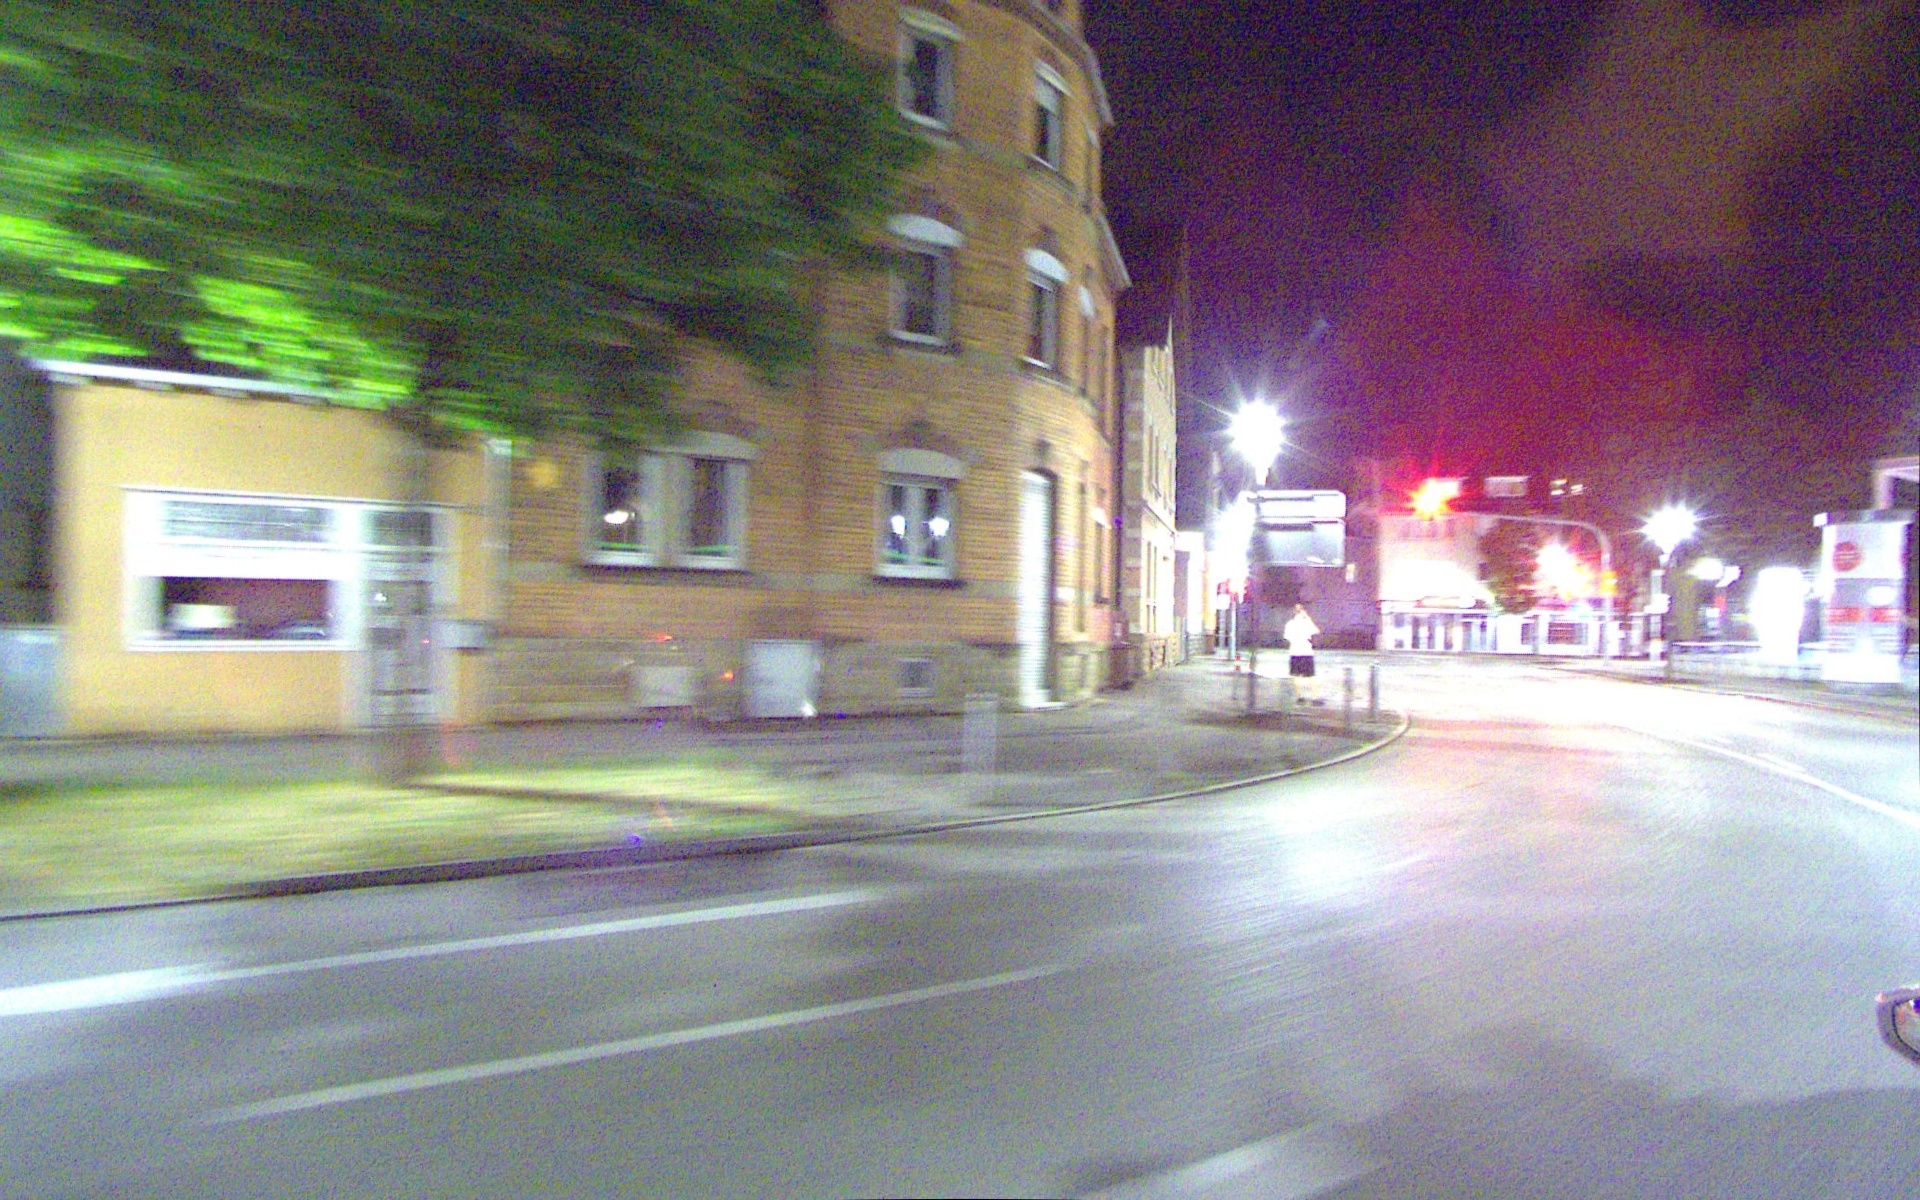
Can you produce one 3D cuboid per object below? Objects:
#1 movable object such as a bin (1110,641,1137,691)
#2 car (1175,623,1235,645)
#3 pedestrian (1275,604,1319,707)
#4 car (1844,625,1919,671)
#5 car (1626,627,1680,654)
[{"bbox_3d":[3.351,1.348,20.595,0.488,1.004,0.559,0,-1,16],"label":"movable object such as a bin"},{"bbox_3d":[18.517,2.621,76.076,1.976,1.594,4.296,2,-4,-30],"label":"car"},{"bbox_3d":[6.294,1.021,18.787,0.711,1.846,0.692,2,0,17],"label":"pedestrian"},{"bbox_3d":[34.804,1.759,37.127,4.279,1.595,1.984,1,-1,-31],"label":"car"},{"bbox_3d":[44.087,2.544,63.943,1.961,1.595,3.654,0,-1,20],"label":"car"}]
